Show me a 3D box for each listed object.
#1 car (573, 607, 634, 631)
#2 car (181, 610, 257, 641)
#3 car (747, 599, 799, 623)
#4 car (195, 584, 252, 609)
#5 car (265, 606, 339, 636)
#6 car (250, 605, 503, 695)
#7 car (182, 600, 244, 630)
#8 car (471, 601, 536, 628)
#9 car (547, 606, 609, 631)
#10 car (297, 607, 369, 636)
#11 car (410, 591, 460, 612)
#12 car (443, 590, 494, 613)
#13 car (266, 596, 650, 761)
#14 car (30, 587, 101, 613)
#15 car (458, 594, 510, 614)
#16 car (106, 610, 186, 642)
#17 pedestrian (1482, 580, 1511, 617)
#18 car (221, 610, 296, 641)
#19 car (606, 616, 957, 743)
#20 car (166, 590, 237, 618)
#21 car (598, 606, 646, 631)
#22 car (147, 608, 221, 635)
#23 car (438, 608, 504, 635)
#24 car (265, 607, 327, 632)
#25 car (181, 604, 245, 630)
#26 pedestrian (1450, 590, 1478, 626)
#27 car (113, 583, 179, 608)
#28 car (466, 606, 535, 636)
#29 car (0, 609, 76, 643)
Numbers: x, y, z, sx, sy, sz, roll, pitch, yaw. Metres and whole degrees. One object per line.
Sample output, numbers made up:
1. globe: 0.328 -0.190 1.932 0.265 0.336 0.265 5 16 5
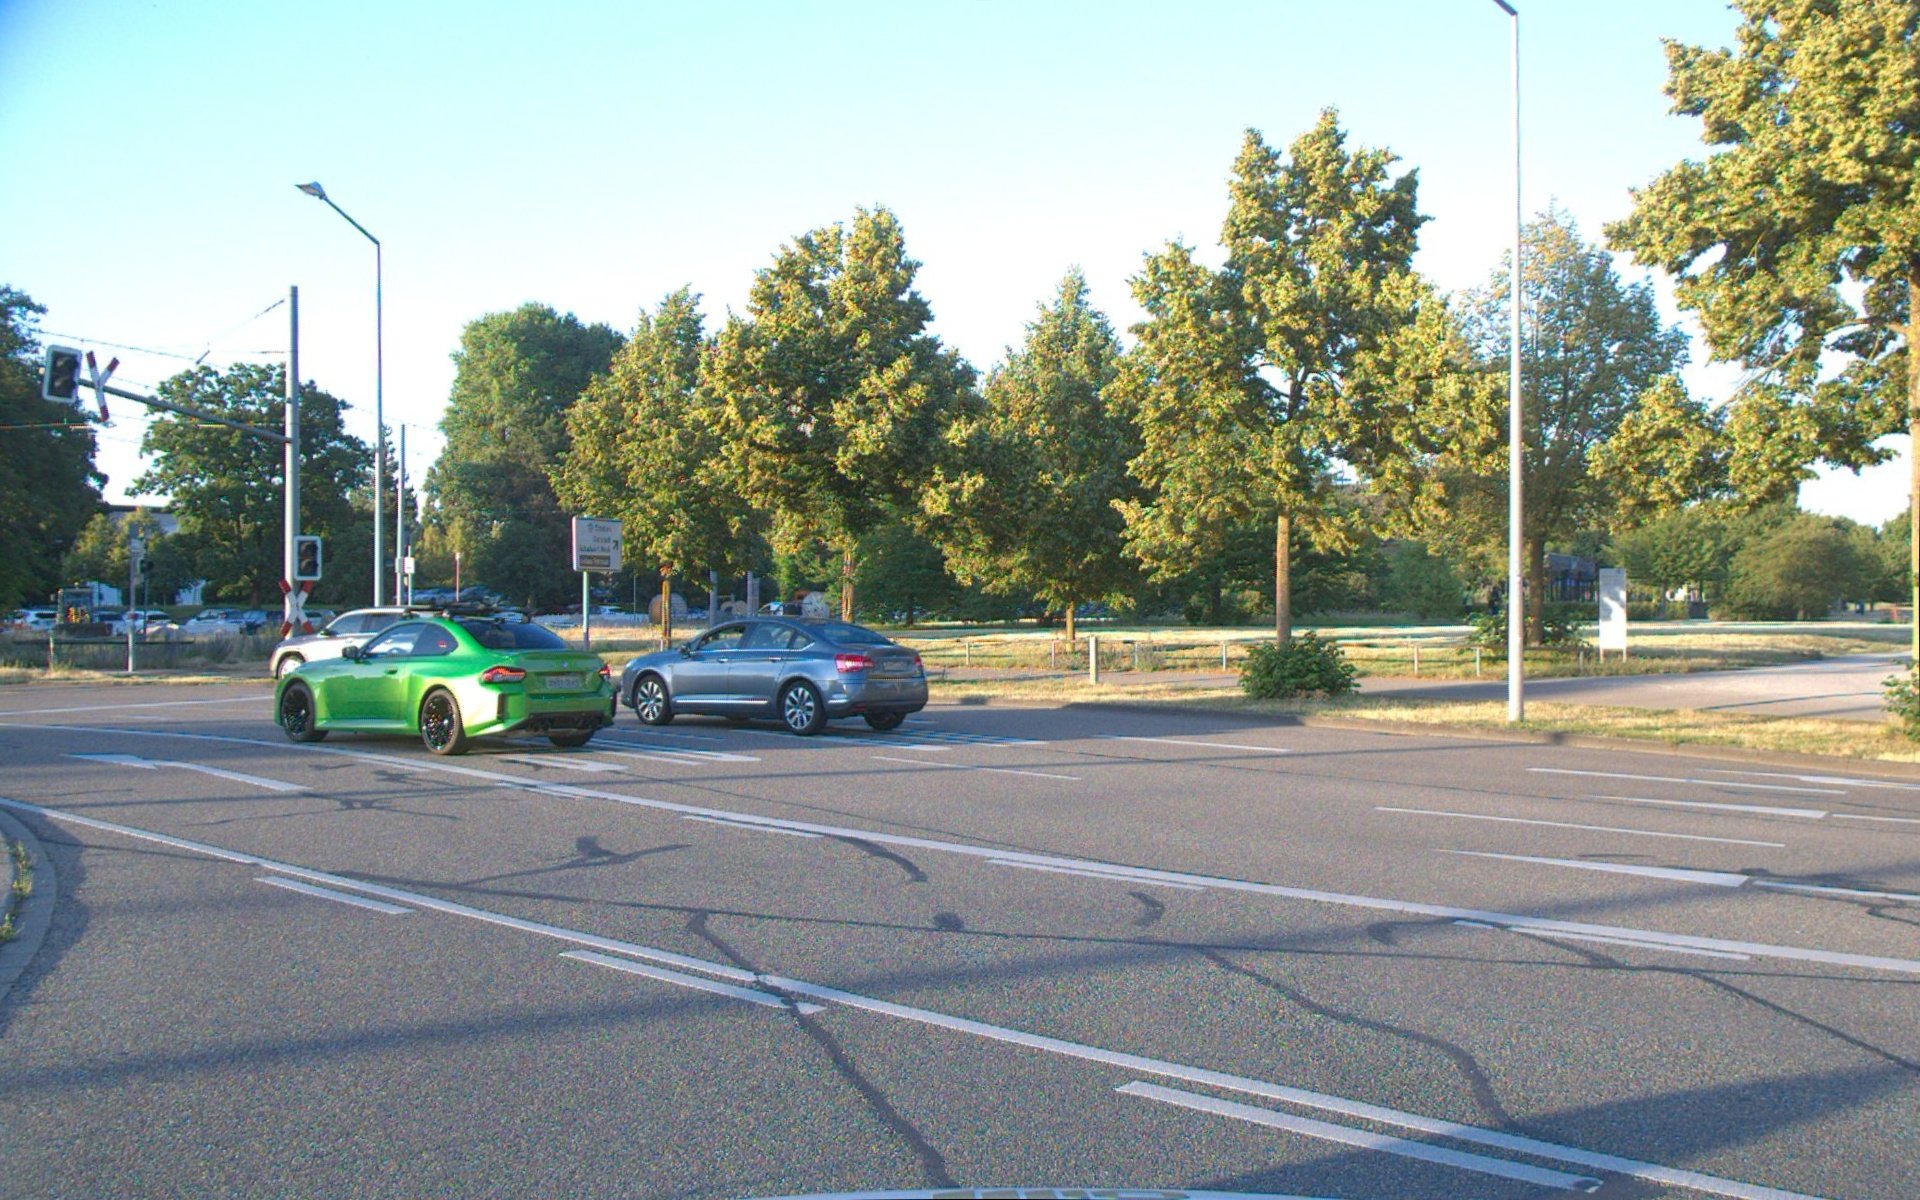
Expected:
1. car: -24.880 1.334 115.428 3.915 1.632 1.995 0 0 32
2. car: -40.511 1.375 90.381 3.915 1.632 1.995 0 0 32
3. car: -12.982 0.771 114.676 1.724 1.646 3.940 0 0 -41
4. car: -63.353 -0.308 142.366 1.958 2.049 4.105 0 0 33
5. car: -37.368 1.179 93.874 3.915 1.632 1.995 0 0 32
6. car: -11.465 0.948 32.533 4.417 1.666 2.001 0 0 19
7. car: -52.332 1.053 115.889 3.939 2.049 1.983 0 0 -27
8. car: -34.572 1.098 125.267 4.499 2.049 1.996 0 0 -9
9. car: -26.249 1.248 113.678 3.915 1.632 1.995 0 0 32
10. car: -36.424 1.204 96.092 3.915 1.632 1.995 0 0 32
11. car: -47.929 0.130 151.068 1.959 1.847 3.987 0 0 34
12. car: -44.067 0.126 148.241 1.963 2.049 3.979 0 0 40
13. car: -5.648 0.770 18.379 4.400 1.606 1.990 0 0 39
14. car: -70.512 -0.007 130.470 1.956 2.049 4.590 0 0 29
15. car: -41.667 0.312 144.728 3.902 1.736 2.001 0 0 6
16. car: -42.235 1.326 85.791 3.915 1.632 1.995 0 0 32
17. pedestrian: 24.326 -0.067 75.034 1.047 1.646 0.911 0 0 2
18. car: -39.068 1.407 92.048 3.915 1.632 1.995 0 0 32
19. car: -2.434 0.977 22.045 4.575 1.489 1.880 0 0 35
20. car: -56.626 0.254 123.495 1.956 2.049 4.590 0 0 29
21. car: -26.342 1.406 128.883 1.979 1.782 4.538 0 1 -37
22. car: -50.210 1.384 107.088 1.863 1.691 3.987 0 0 34
23. car: -30.955 1.335 104.689 3.915 1.632 1.995 0 0 32
24. car: -45.796 1.334 114.116 3.933 1.691 1.889 0 0 -23
25. car: -50.540 1.123 111.875 3.939 1.691 1.983 0 0 -27
26. pedestrian: 23.285 0.351 76.403 1.047 1.646 0.911 0 0 2
27. car: -67.096 -0.396 136.344 1.958 2.049 4.585 0 0 33
28. car: -32.503 1.454 117.159 4.499 2.049 1.996 0 0 -9
29. car: -45.606 1.250 81.439 3.915 1.632 1.995 0 0 32
